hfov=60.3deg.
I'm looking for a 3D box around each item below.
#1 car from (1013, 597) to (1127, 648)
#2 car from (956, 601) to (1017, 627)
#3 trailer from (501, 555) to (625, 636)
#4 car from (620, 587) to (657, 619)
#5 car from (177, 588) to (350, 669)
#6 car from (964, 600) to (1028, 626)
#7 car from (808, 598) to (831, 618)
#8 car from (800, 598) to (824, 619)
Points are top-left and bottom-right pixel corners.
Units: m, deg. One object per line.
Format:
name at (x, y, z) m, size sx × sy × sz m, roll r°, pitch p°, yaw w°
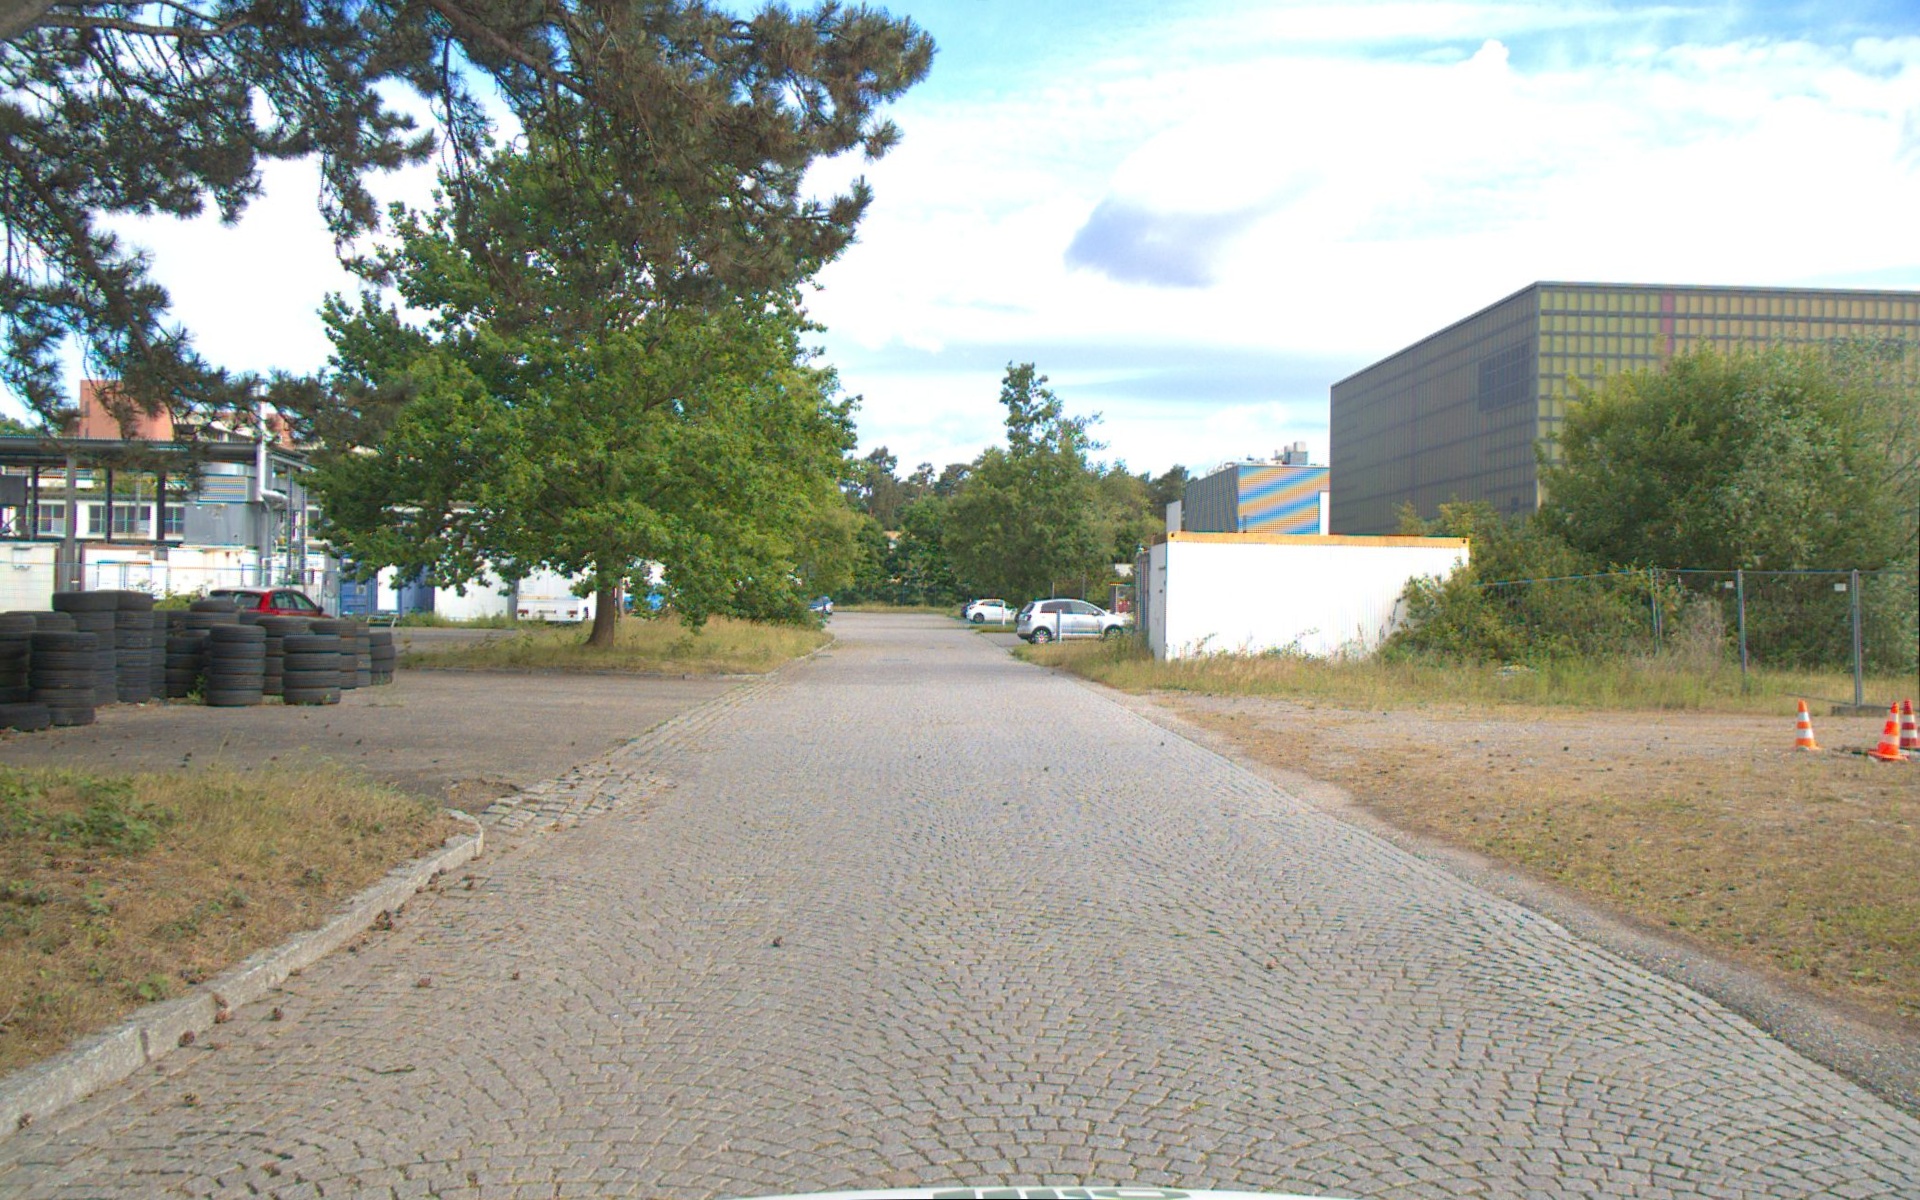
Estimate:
car at (3.824, 0.773, 57.827) m, size 3.774 × 1.683 × 1.684 m, roll 1°, pitch 0°, yaw -5°
car at (1.735, 0.934, 109.467) m, size 3.909 × 1.629 × 1.727 m, roll 1°, pitch 0°, yaw -5°
trailer at (-16.562, -0.173, 69.621) m, size 3.094 × 3.121 × 8.783 m, roll 1°, pitch 0°, yaw 0°
car at (-21.343, 0.191, 109.952) m, size 1.887 × 2.083 × 4.596 m, roll 1°, pitch 0°, yaw -4°
car at (-13.506, 0.530, 32.280) m, size 1.730 × 1.478 × 3.489 m, roll 1°, pitch 0°, yaw 3°
car at (2.267, 0.811, 103.934) m, size 3.944 × 1.528 × 1.548 m, roll 1°, pitch 0°, yaw -2°
car at (-11.189, 0.636, 131.776) m, size 1.768 × 1.561 × 3.996 m, roll 1°, pitch 0°, yaw -4°
car at (-10.943, 0.640, 122.425) m, size 1.701 × 1.495 × 4.042 m, roll 1°, pitch 0°, yaw -4°
